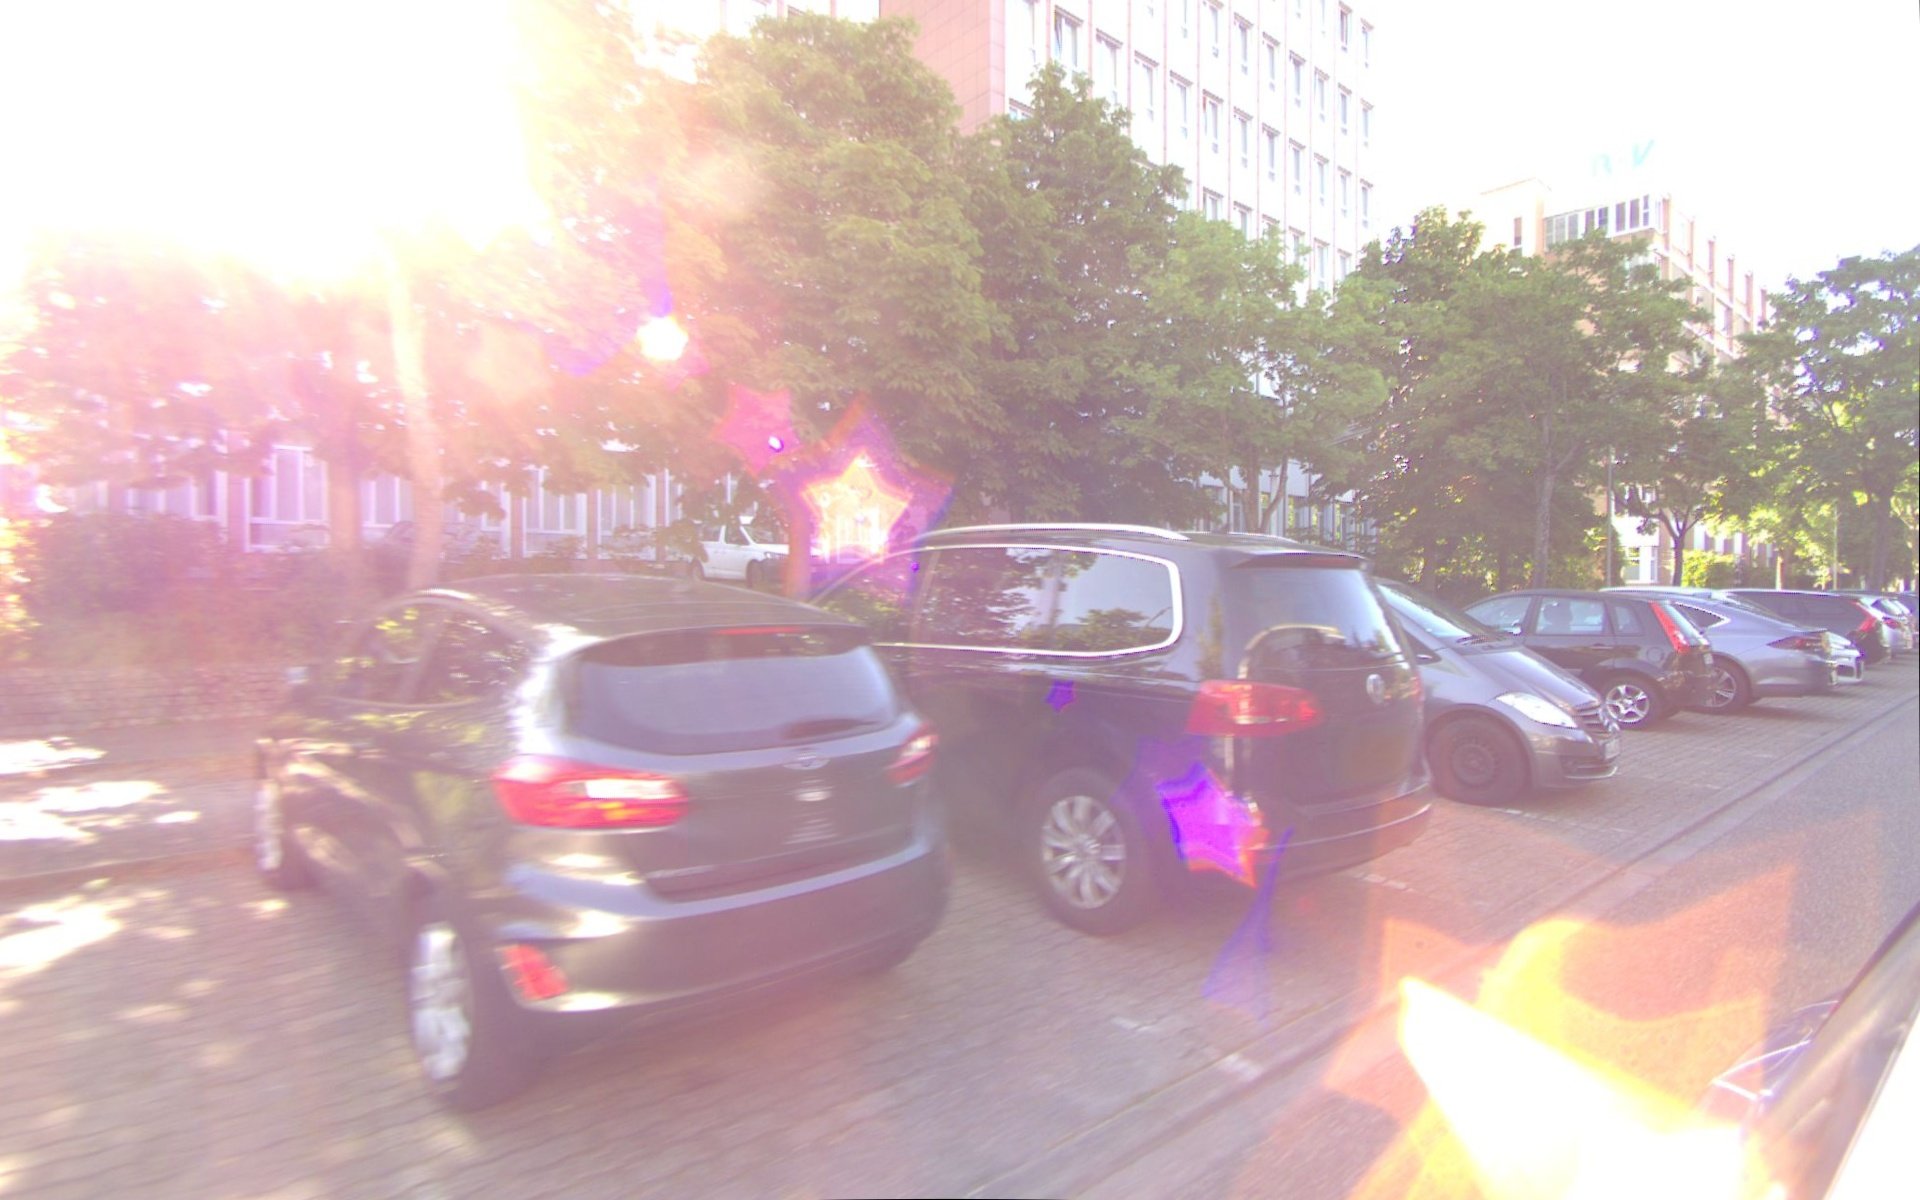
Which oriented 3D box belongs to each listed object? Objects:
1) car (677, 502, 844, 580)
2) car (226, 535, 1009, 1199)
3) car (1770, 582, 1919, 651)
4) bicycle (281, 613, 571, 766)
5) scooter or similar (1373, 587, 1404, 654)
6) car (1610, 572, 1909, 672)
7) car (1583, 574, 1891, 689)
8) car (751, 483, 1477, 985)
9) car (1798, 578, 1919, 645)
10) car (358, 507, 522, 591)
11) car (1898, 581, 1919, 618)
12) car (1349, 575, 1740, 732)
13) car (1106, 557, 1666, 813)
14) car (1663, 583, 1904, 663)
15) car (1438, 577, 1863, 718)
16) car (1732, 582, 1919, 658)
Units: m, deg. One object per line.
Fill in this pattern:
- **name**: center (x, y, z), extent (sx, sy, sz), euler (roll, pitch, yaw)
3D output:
- **car**: center (-4.976, -1.347, 24.793), extent (1.844, 1.707, 4.722), euler (0, 1, -42)
- **car**: center (-1.752, 0.553, 4.183), extent (1.565, 1.464, 3.840), euler (2, 3, -43)
- **car**: center (21.572, 0.359, 24.333), extent (1.470, 1.477, 2.998), euler (-1, 3, -38)
- **bicycle**: center (-3.993, 0.626, 7.691), extent (1.921, 1.006, 0.303), euler (-1, 0, -37)
- **scooter or similar**: center (7.946, 0.359, 18.755), extent (0.270, 1.201, 1.232), euler (-1, 0, 35)
- **car**: center (13.959, 0.306, 17.824), extent (1.656, 1.569, 3.974), euler (-1, 1, -44)
- **car**: center (12.072, 0.388, 15.881), extent (1.695, 1.525, 3.578), euler (-1, 3, -42)
- **car**: center (0.539, 0.396, 5.511), extent (1.695, 1.772, 3.679), euler (-1, 3, -41)
- **car**: center (23.955, 0.271, 26.328), extent (1.575, 1.624, 3.054), euler (-1, 2, -38)
- **car**: center (-10.652, -0.968, 20.585), extent (4.224, 1.525, 1.697), euler (1, 1, 44)
- **car**: center (45.831, -0.038, 46.293), extent (1.967, 1.727, 4.158), euler (-1, 1, -43)
- **car**: center (6.825, 0.491, 12.064), extent (1.696, 1.499, 3.714), euler (-1, 3, -44)
- **car**: center (3.302, 0.462, 8.340), extent (3.872, 1.584, 1.780), euler (3, 3, 45)
- **car**: center (17.296, 0.403, 21.377), extent (1.630, 1.471, 3.750), euler (-1, 2, -42)
- **car**: center (9.045, 0.505, 13.572), extent (1.828, 1.573, 4.426), euler (0, 1, -42)
- **car**: center (19.517, 0.384, 22.688), extent (1.559, 1.497, 3.205), euler (-1, 2, -37)
